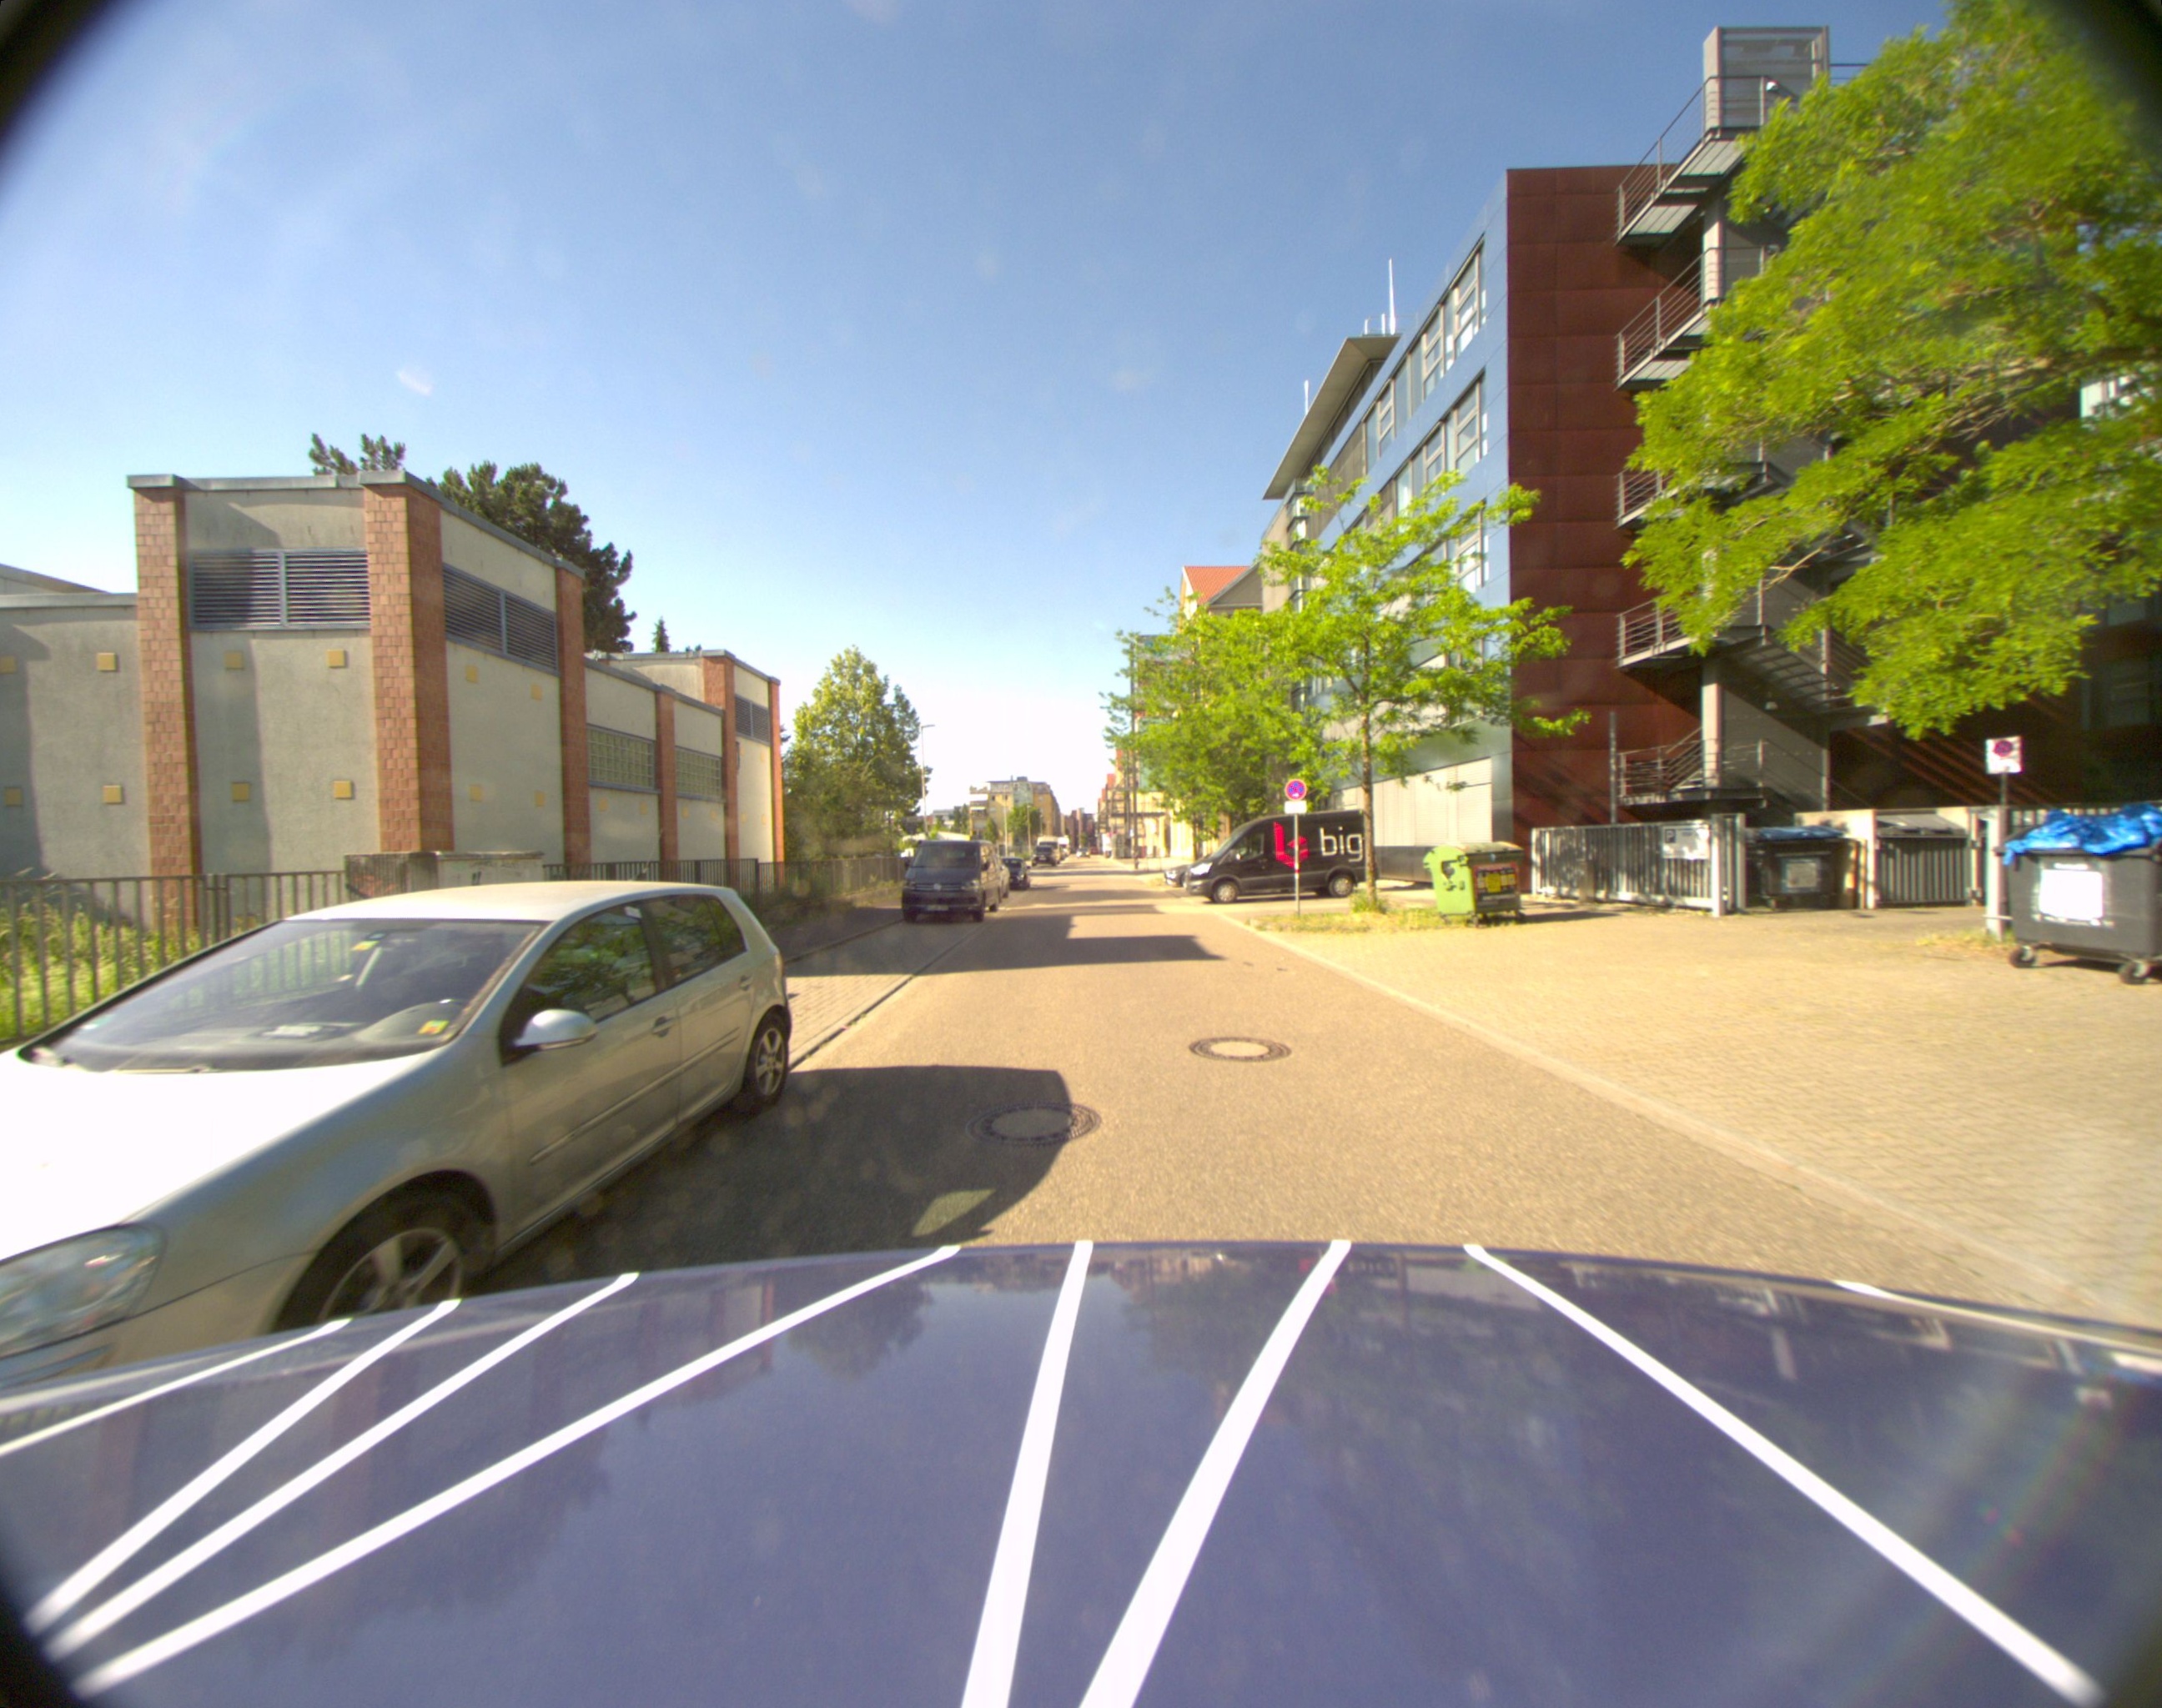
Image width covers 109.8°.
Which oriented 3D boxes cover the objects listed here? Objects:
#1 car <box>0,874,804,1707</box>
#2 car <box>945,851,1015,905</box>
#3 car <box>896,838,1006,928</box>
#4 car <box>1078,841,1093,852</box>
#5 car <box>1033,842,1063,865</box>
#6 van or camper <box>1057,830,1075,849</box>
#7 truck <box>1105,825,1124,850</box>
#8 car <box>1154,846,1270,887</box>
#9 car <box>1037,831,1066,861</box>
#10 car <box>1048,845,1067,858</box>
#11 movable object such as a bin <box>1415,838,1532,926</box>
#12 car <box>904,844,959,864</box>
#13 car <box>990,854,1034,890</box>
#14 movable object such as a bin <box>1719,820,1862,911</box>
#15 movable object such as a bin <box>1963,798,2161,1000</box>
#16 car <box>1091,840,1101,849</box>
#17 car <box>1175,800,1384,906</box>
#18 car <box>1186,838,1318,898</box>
[{"bbox_3d":[-2.773,0.958,3.184,1.664,1.552,3.934,-2,1,1],"label":"car"},{"bbox_3d":[-3.374,0.758,26.195,1.830,1.620,4.292,0,1,0],"label":"car"},{"bbox_3d":[-3.140,0.598,19.392,1.948,2.010,4.824,0,1,0],"label":"car"},{"bbox_3d":[0.623,-1.003,101.705,1.850,1.417,4.224,-1,1,1],"label":"car"},{"bbox_3d":[-2.613,-0.082,60.925,1.998,1.686,4.103,-1,1,2],"label":"car"},{"bbox_3d":[-2.387,-2.253,119.594,2.722,2.841,5.132,-1,2,-1],"label":"van or camper"},{"bbox_3d":[4.794,-2.426,107.816,2.498,3.412,7.126,-1,2,3],"label":"truck"},{"bbox_3d":[5.497,0.503,32.373,4.546,1.343,1.891,-4,2,0],"label":"car"},{"bbox_3d":[-2.650,-0.753,69.809,2.163,2.582,6.283,-2,1,2],"label":"car"},{"bbox_3d":[-2.679,-0.346,87.368,1.850,1.417,4.224,-2,1,1],"label":"car"},{"bbox_3d":[6.792,0.456,13.197,1.298,1.406,1.225,-2,1,-17],"label":"movable object such as a bin"},{"bbox_3d":[-13.274,0.014,67.660,4.422,1.600,2.000,-2,1,3],"label":"car"},{"bbox_3d":[-3.072,0.782,34.289,1.656,1.464,3.763,0,1,-1],"label":"car"},{"bbox_3d":[12.143,0.173,13.055,1.484,1.478,1.011,-1,2,1],"label":"movable object such as a bin"},{"bbox_3d":[9.830,0.334,7.078,1.417,1.588,1.522,-5,3,4],"label":"movable object such as a bin"},{"bbox_3d":[2.823,-1.760,141.041,1.760,1.440,4.000,-2,1,2],"label":"car"},{"bbox_3d":[5.751,-0.056,22.537,5.468,2.608,2.231,-4,2,0],"label":"car"},{"bbox_3d":[5.568,0.424,25.120,3.841,1.636,1.891,-4,2,-1],"label":"car"}]
